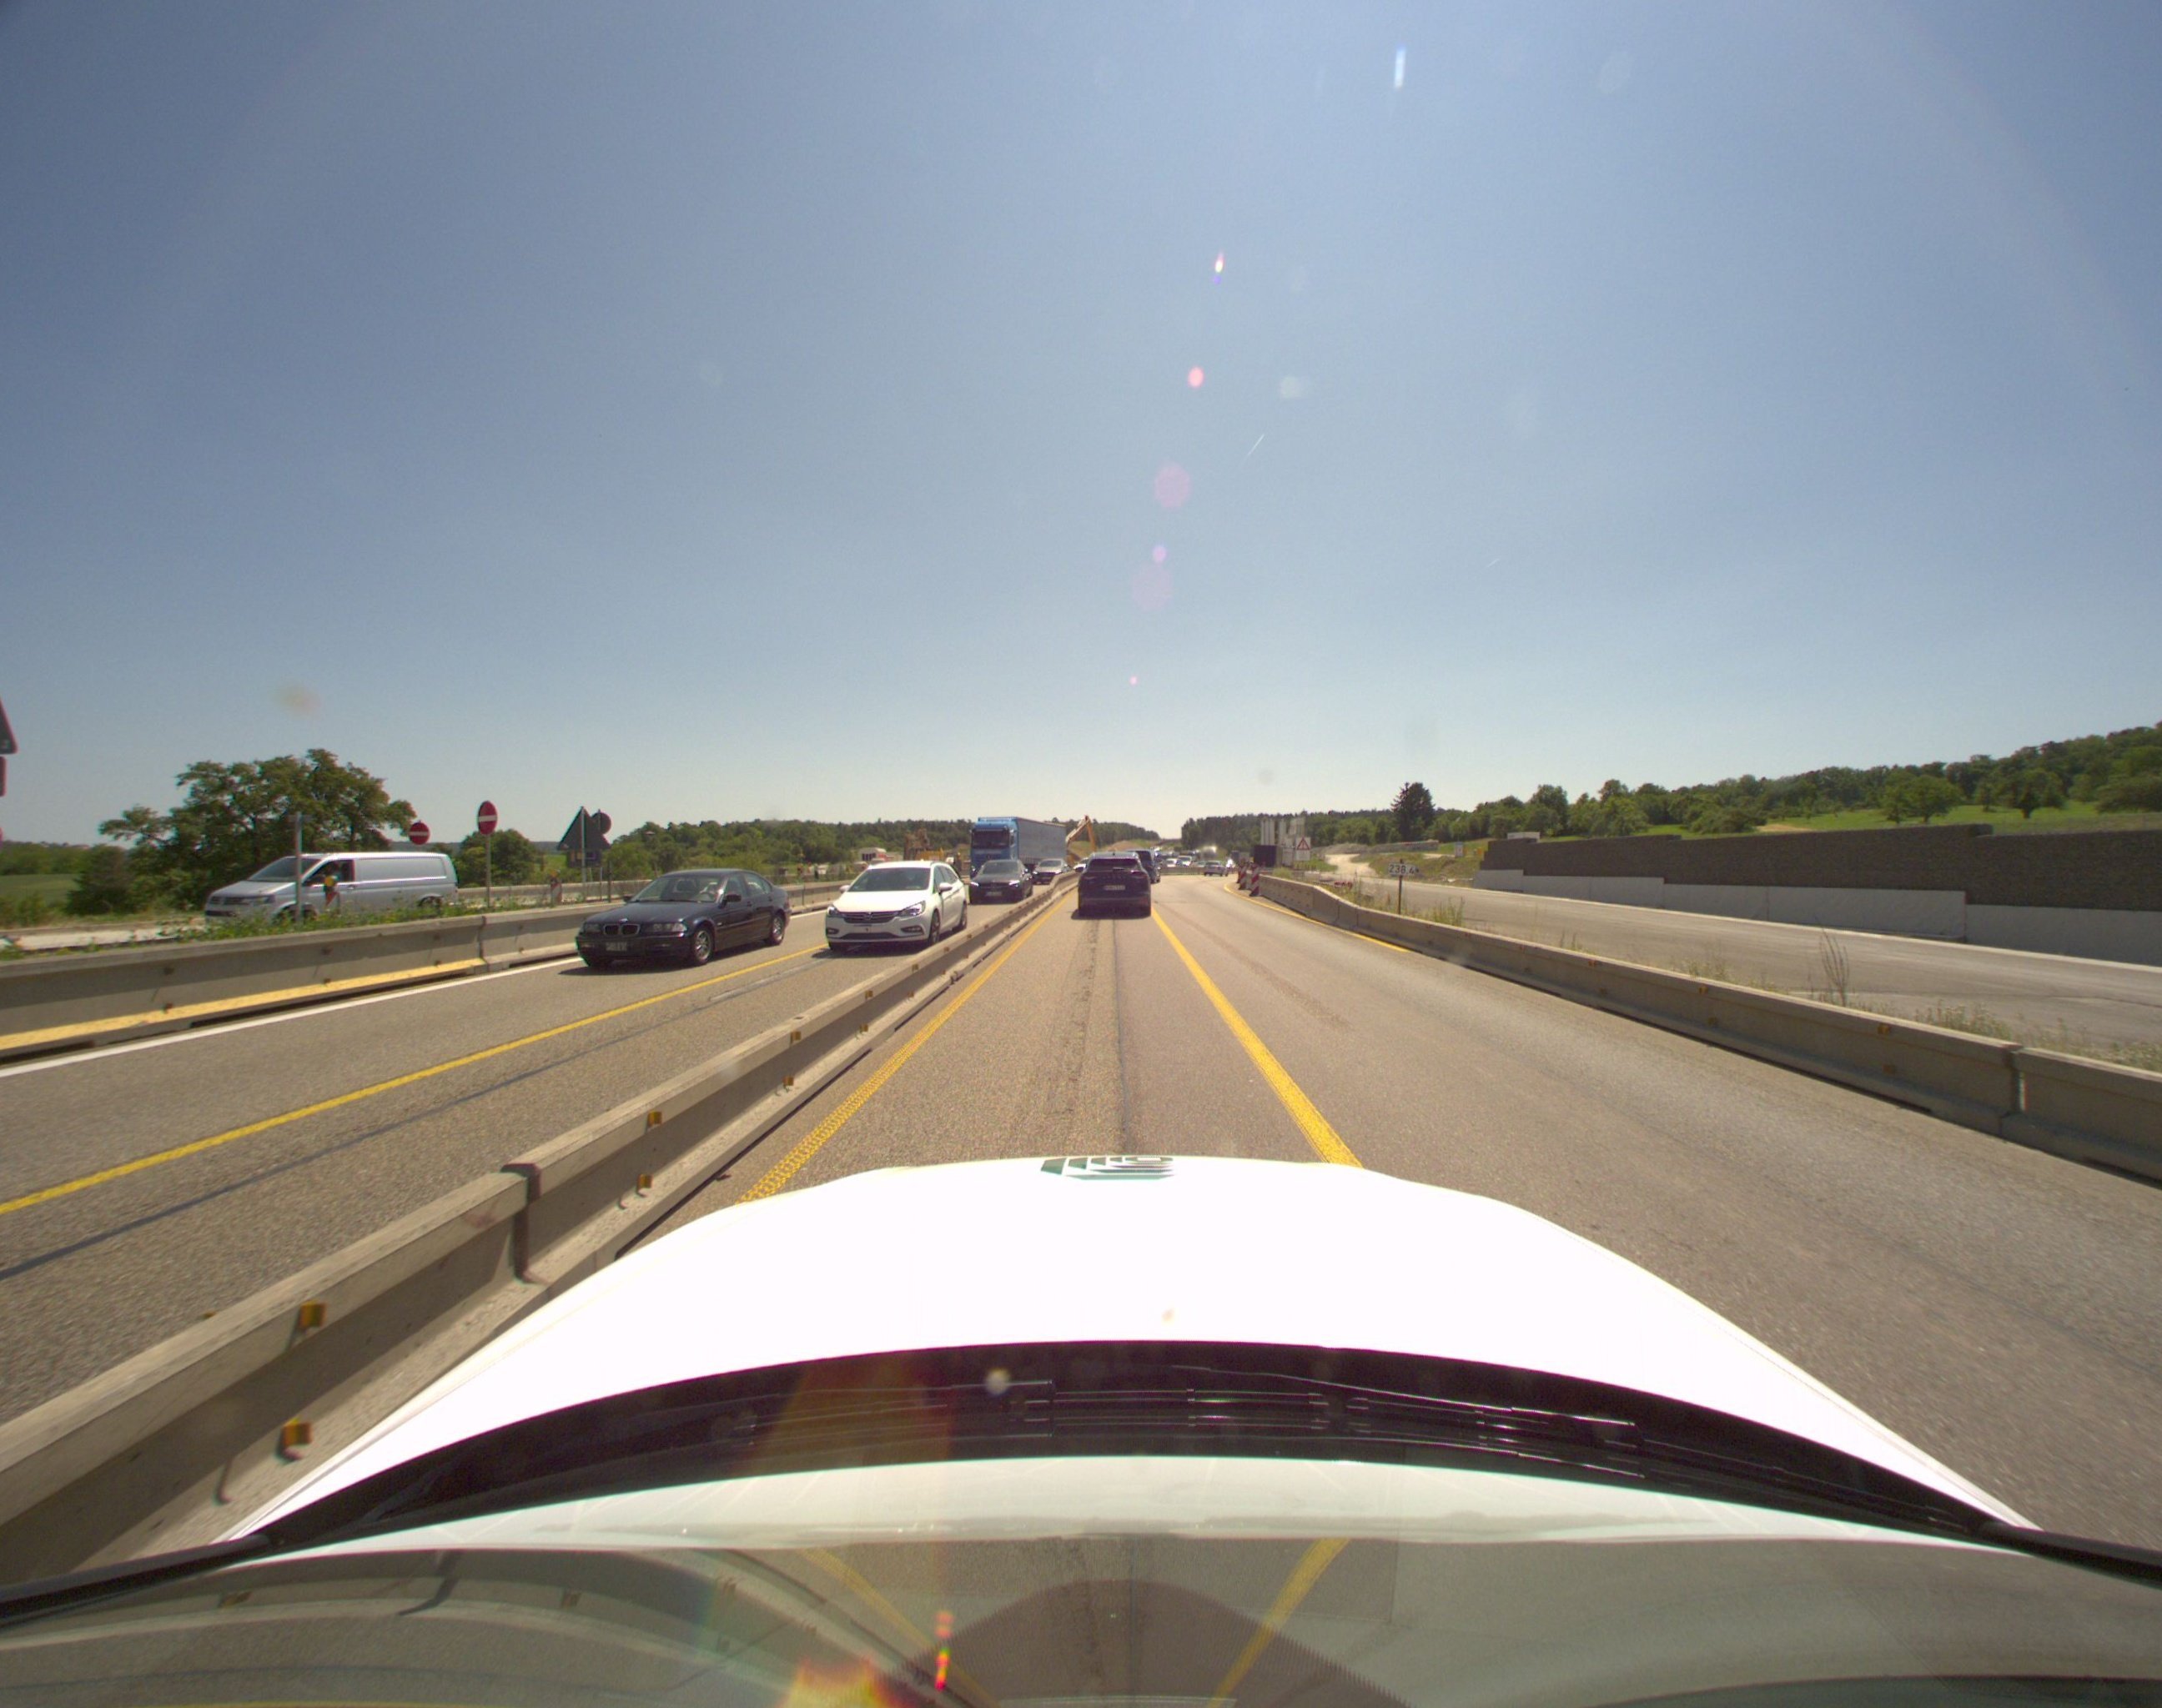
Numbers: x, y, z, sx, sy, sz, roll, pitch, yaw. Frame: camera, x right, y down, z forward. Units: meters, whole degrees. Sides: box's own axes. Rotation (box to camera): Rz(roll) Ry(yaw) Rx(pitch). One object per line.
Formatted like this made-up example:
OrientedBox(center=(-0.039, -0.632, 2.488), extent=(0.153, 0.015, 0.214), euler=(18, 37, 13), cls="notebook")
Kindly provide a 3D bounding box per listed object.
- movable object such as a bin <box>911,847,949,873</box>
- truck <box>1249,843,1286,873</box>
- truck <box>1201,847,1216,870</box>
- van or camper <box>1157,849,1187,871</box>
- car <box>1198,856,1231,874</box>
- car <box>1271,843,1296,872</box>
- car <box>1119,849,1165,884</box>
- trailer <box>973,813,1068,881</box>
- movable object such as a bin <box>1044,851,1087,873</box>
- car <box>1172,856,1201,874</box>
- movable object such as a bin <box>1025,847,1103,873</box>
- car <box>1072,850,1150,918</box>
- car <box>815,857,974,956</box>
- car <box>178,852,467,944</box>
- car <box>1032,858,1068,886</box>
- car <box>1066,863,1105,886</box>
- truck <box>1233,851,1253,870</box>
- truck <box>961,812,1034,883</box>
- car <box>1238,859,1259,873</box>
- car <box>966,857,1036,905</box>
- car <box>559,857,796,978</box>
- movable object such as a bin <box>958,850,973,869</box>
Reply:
OrientedBox(center=(-16.968, 0.628, 91.666), extent=(2.893, 2.727, 3.324), euler=(2, 0, -38), cls="movable object such as a bin")
OrientedBox(center=(19.111, 0.462, 83.224), extent=(2.649, 2.946, 5.651), euler=(-1, -1, 24), cls="truck")
OrientedBox(center=(24.285, 0.802, 155.412), extent=(2.756, 4.260, 6.212), euler=(1, 0, 8), cls="truck")
OrientedBox(center=(11.220, 0.765, 100.066), extent=(2.080, 2.541, 6.337), euler=(-1, -1, 21), cls="van or camper")
OrientedBox(center=(12.717, 1.037, 77.438), extent=(2.027, 1.526, 5.093), euler=(-1, 0, 22), cls="car")
OrientedBox(center=(31.591, 0.573, 126.970), extent=(3.412, 4.100, 9.232), euler=(4, 0, 14), cls="car")
OrientedBox(center=(3.486, 0.659, 45.841), extent=(1.980, 1.844, 4.013), euler=(1, 0, 12), cls="car")
OrientedBox(center=(-3.853, -0.391, 57.169), extent=(2.895, 4.129, 13.961), euler=(-1, 0, 12), cls="trailer")
OrientedBox(center=(-1.880, 1.038, 102.070), extent=(3.263, 2.440, 5.468), euler=(4, 1, 22), cls="movable object such as a bin")
OrientedBox(center=(11.774, 1.288, 90.553), extent=(1.856, 1.873, 5.086), euler=(1, -1, 24), cls="car")
OrientedBox(center=(-1.930, 0.638, 88.917), extent=(7.829, 2.432, 3.741), euler=(3, 0, 39), cls="movable object such as a bin")
OrientedBox(center=(0.816, 0.696, 21.384), extent=(1.835, 1.582, 4.003), euler=(-1, 0, 3), cls="car")
OrientedBox(center=(-3.238, 0.840, 15.084), extent=(1.727, 1.478, 4.522), euler=(-1, 0, 2), cls="car")
OrientedBox(center=(-18.976, 0.993, 20.805), extent=(1.903, 1.941, 5.115), euler=(-1, 1, 15), cls="car")
OrientedBox(center=(-1.747, 0.995, 46.453), extent=(1.582, 1.441, 4.129), euler=(-2, 0, 4), cls="car")
OrientedBox(center=(0.377, 1.471, 59.172), extent=(2.004, 1.444, 4.601), euler=(-1, 1, 10), cls="car")
OrientedBox(center=(38.178, 1.422, 192.652), extent=(3.458, 4.220, 10.394), euler=(5, 1, 6), cls="truck")
OrientedBox(center=(-5.039, -0.382, 50.563), extent=(2.896, 4.129, 6.156), euler=(-1, 0, 10), cls="truck")
OrientedBox(center=(20.648, 1.480, 100.056), extent=(1.805, 1.644, 3.886), euler=(1, 0, 22), cls="car")
OrientedBox(center=(-2.710, 0.879, 28.580), extent=(1.767, 1.427, 4.773), euler=(-2, 0, 2), cls="car")
OrientedBox(center=(-6.326, 0.894, 13.358), extent=(1.760, 1.597, 4.001), euler=(-1, 0, 1), cls="car")
OrientedBox(center=(-20.665, 0.907, 146.289), extent=(2.420, 3.126, 5.466), euler=(4, 0, -8), cls="movable object such as a bin")
